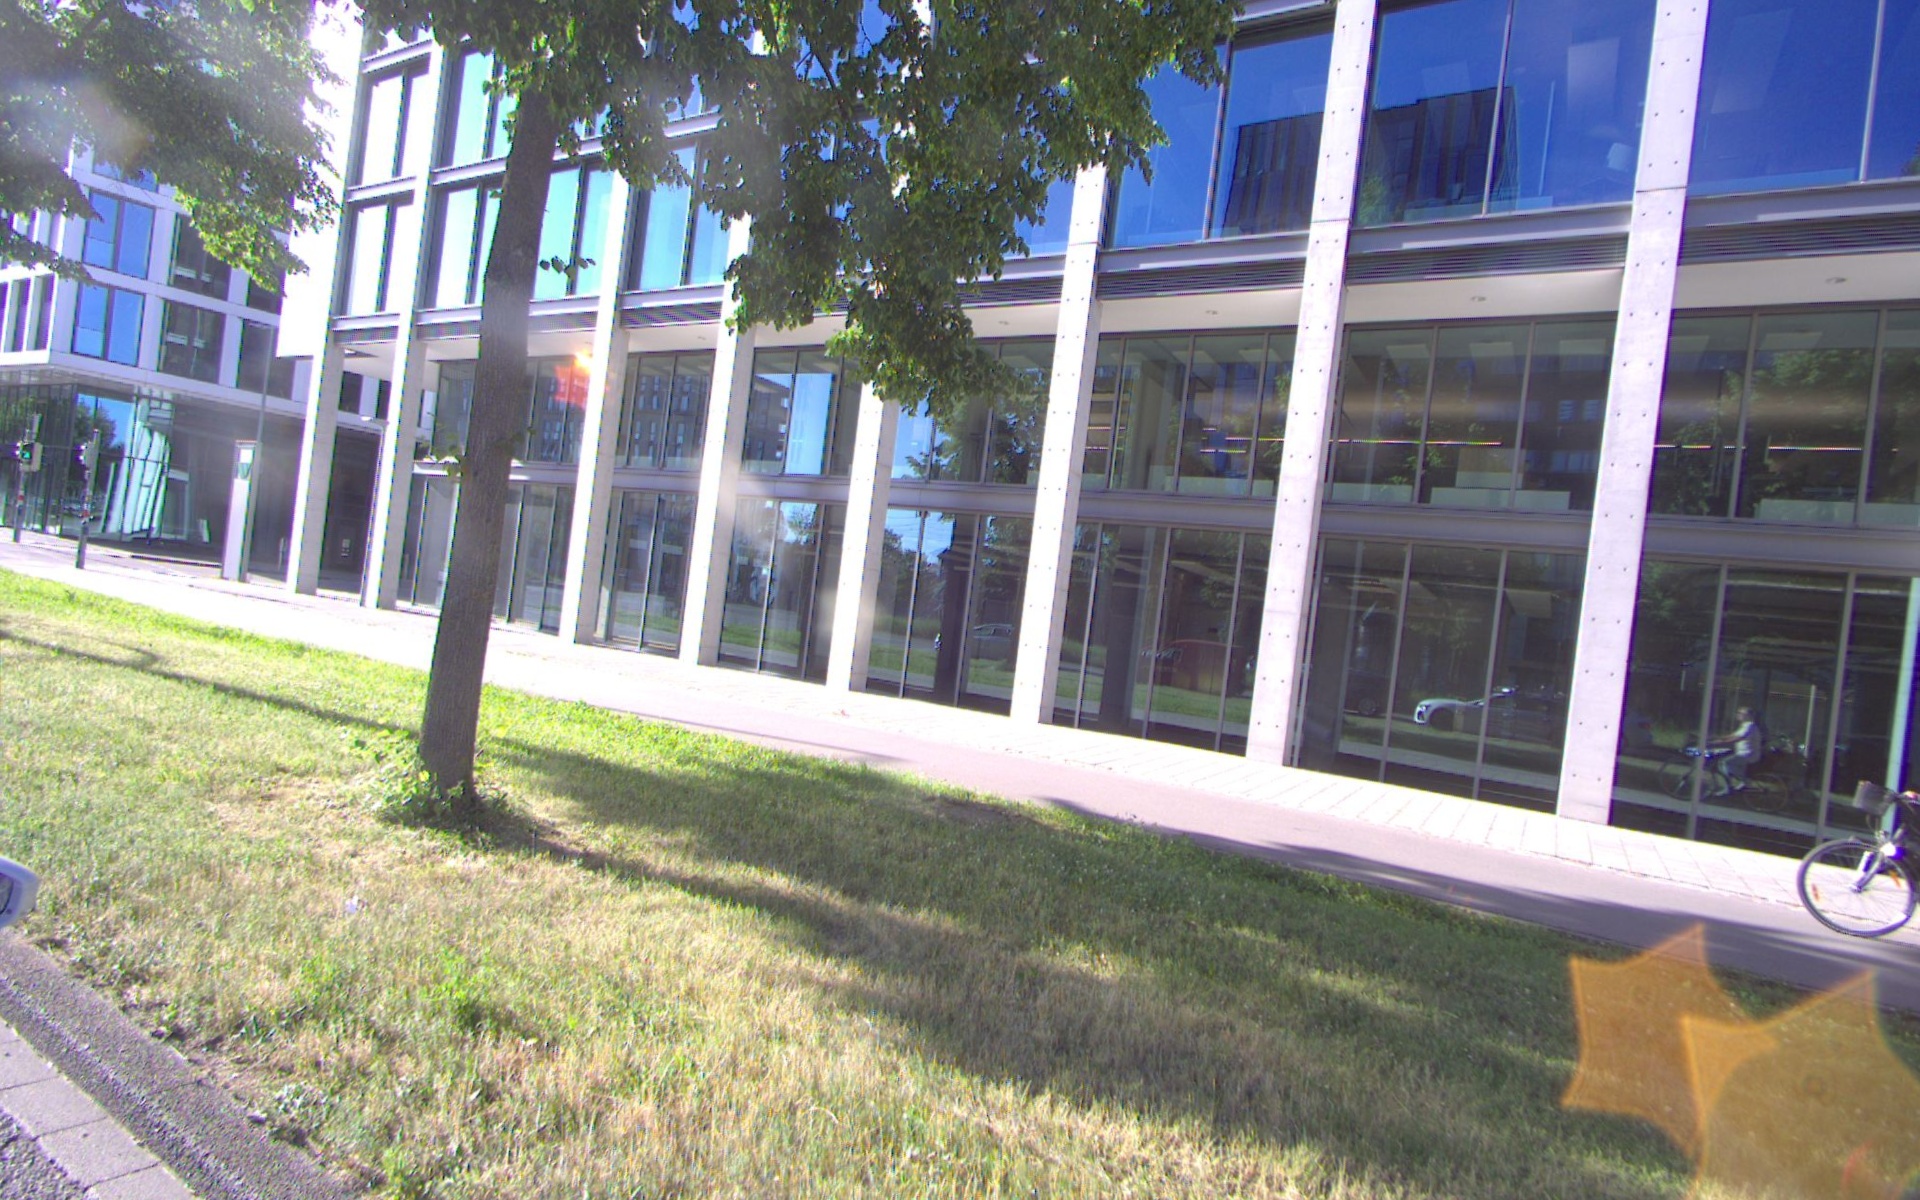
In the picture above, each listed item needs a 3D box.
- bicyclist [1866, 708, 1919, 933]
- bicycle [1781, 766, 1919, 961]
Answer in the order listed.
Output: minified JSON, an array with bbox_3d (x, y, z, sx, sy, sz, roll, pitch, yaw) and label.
[{"bbox_3d":[7.221,1.609,7.189,0.835,1.550,0.772,7,0,31],"label":"bicyclist"},{"bbox_3d":[7.223,1.984,7.165,1.929,1.189,0.742,7,1,32],"label":"bicycle"}]
